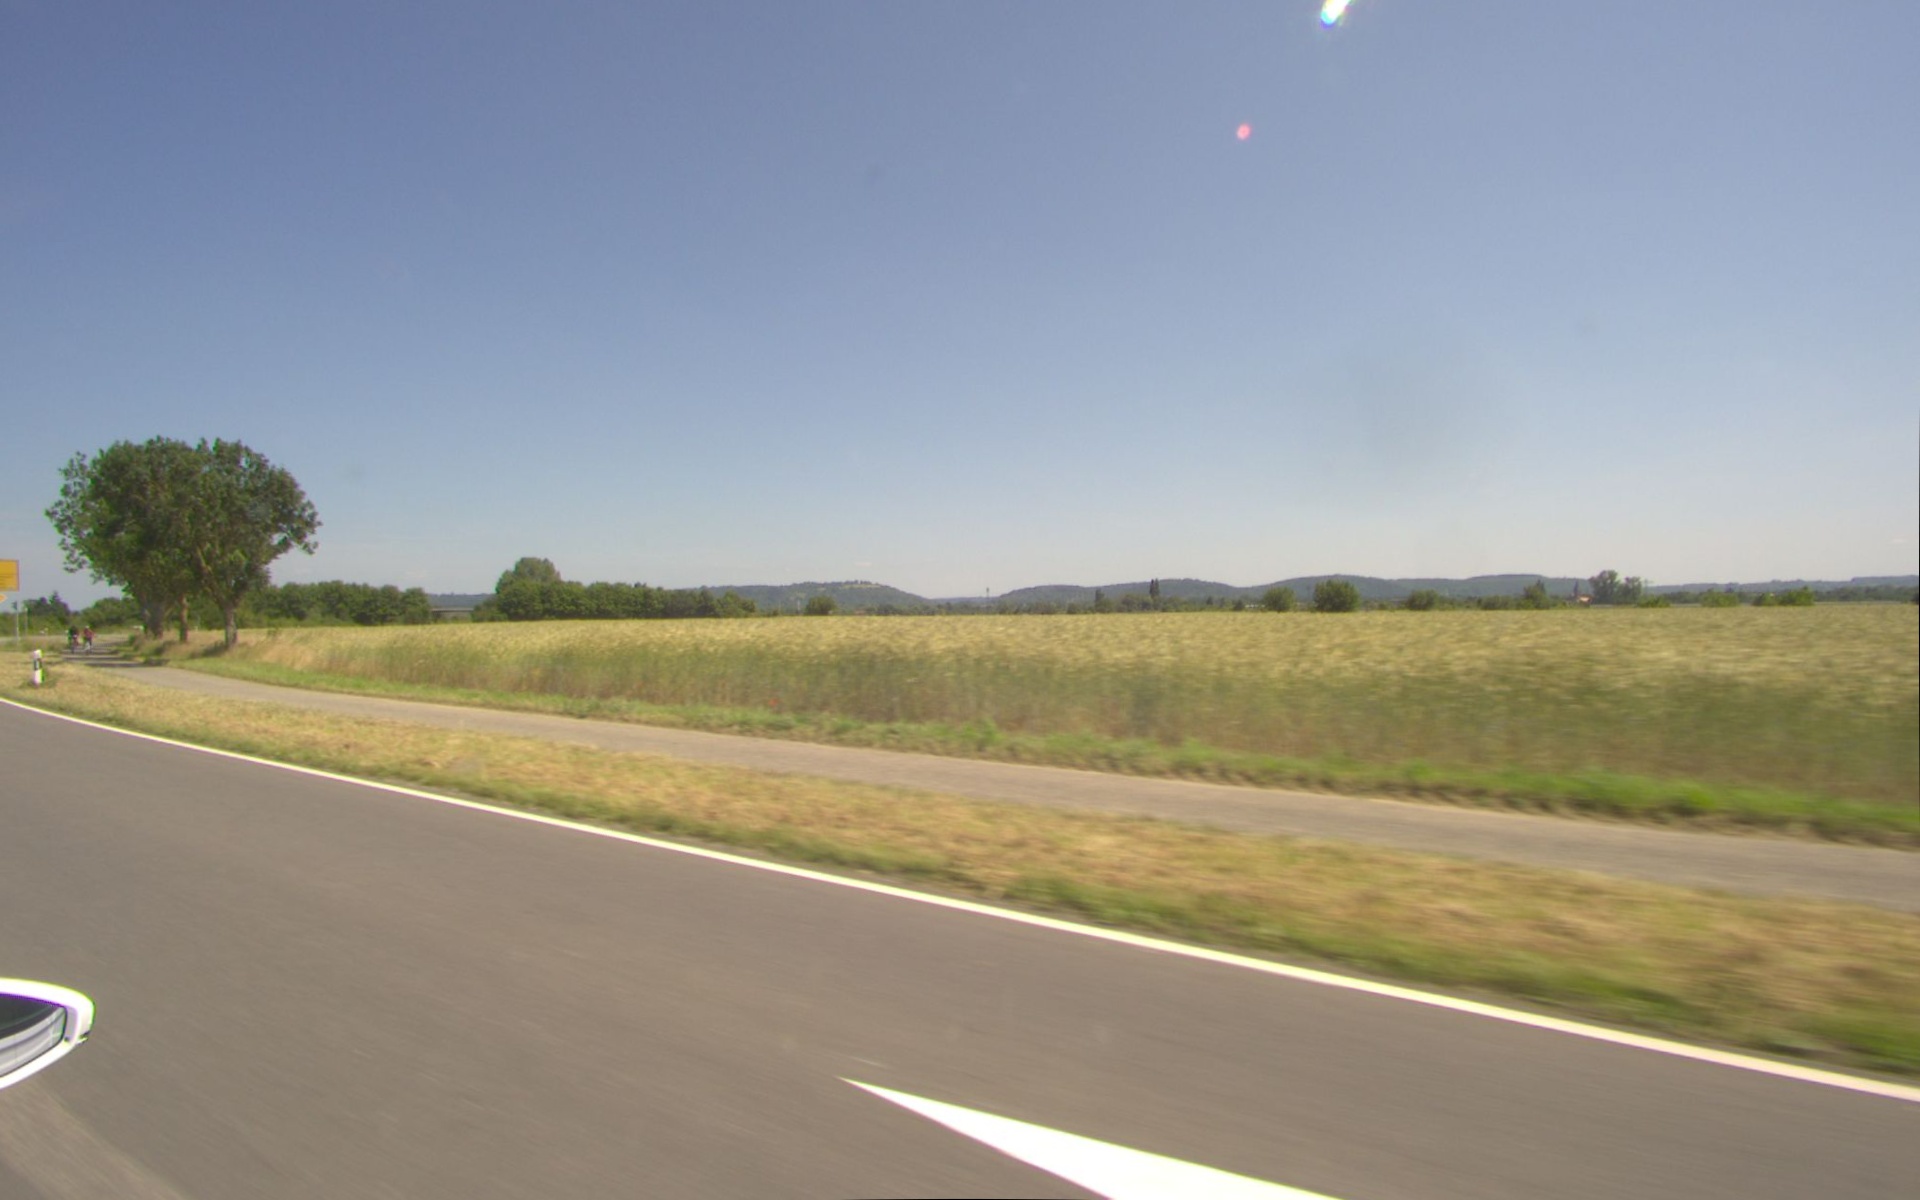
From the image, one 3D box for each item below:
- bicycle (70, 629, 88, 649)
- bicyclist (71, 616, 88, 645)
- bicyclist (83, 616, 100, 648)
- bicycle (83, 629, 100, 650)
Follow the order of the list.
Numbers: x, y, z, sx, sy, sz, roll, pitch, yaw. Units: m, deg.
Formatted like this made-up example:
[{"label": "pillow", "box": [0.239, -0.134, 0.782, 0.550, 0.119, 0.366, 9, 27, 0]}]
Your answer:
[{"label": "bicycle", "box": [-54.442, 2.397, 61.888, 0.600, 1.191, 2.036, 4, -4, -36]}, {"label": "bicyclist", "box": [-54.464, 1.881, 61.962, 0.582, 1.756, 1.163, 5, -3, -36]}, {"label": "bicyclist", "box": [-51.049, 1.869, 58.871, 0.623, 1.804, 0.969, 6, -4, -40]}, {"label": "bicycle", "box": [-51.084, 2.325, 58.883, 0.693, 1.225, 2.033, 3, -3, -40]}]
